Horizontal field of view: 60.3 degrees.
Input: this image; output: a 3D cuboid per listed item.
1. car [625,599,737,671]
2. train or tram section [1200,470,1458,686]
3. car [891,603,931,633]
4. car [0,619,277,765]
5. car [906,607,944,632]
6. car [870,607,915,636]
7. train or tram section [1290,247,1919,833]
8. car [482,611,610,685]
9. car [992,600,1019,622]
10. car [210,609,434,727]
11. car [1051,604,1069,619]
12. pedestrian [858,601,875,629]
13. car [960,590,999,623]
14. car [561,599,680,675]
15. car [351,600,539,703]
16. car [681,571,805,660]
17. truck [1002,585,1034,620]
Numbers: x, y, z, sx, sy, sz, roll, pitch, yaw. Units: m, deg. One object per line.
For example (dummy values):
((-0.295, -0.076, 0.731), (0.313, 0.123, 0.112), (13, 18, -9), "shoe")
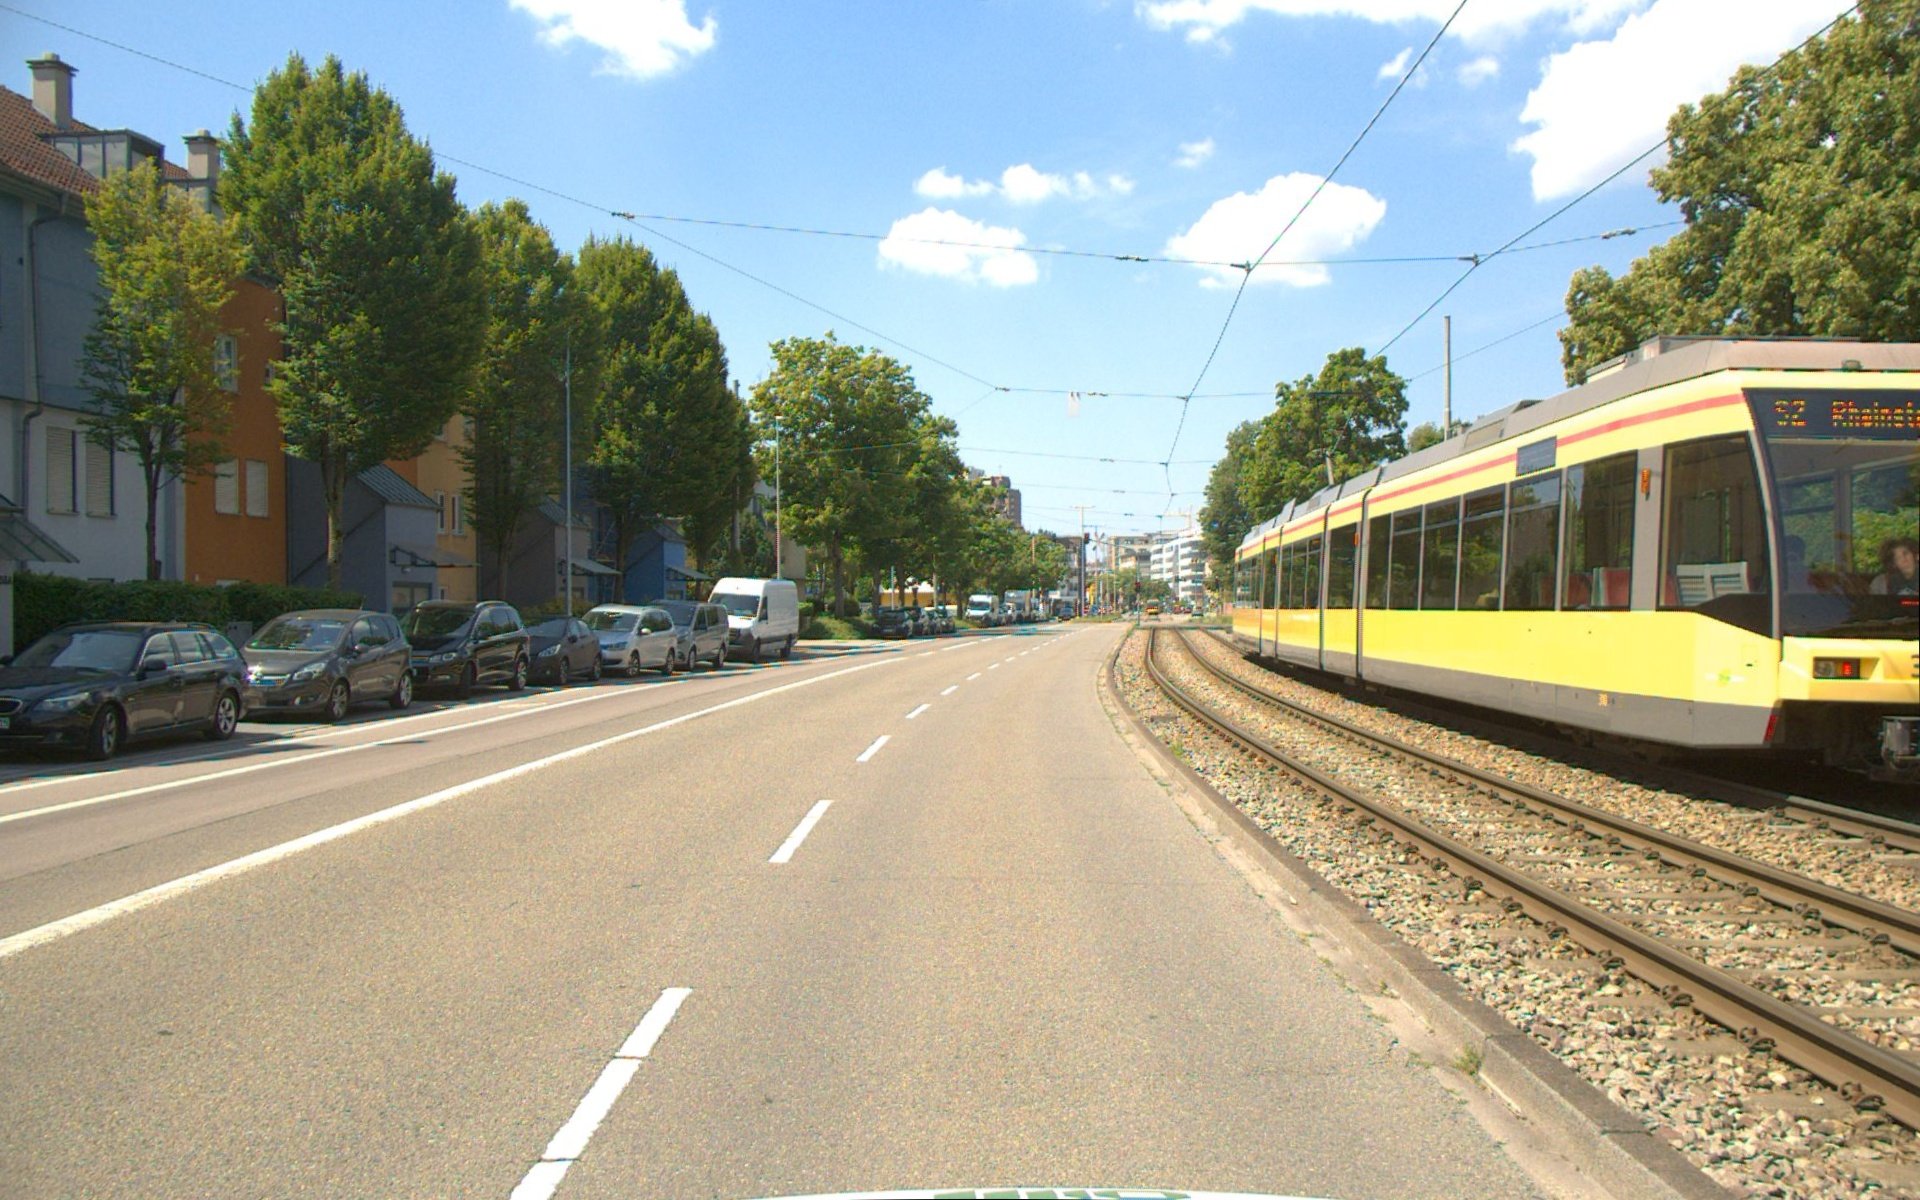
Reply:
((-7.927, 0.946, 47.542), (1.768, 1.928, 5.366), (-1, 0, 6), "car")
((7.915, -0.382, 39.026), (2.882, 3.756, 20.293), (0, 0, 4), "train or tram section")
((-2.766, 0.992, 94.240), (1.737, 1.632, 4.640), (0, 0, 5), "car")
((-10.294, 1.012, 20.137), (1.705, 1.472, 4.965), (1, 0, 2), "car")
((-2.063, 1.164, 99.330), (1.737, 1.397, 4.700), (1, 0, 5), "car")
((-3.505, 1.099, 86.337), (1.737, 1.481, 4.807), (0, 0, 5), "car")
((6.914, -0.384, 19.786), (2.882, 3.756, 18.393), (0, 0, 2), "train or tram section")
((-9.163, 1.026, 36.901), (1.565, 1.497, 4.089), (-1, 0, 4), "car")
((4.240, 1.022, 152.984), (2.017, 1.931, 4.874), (-1, 0, 7), "car")
((-9.895, 0.997, 26.027), (1.621, 1.645, 4.287), (-1, 0, 4), "car")
((10.735, 1.214, 176.897), (1.737, 1.485, 4.197), (-2, 0, 5), "car")
((-6.145, 0.991, 108.940), (0.954, 1.855, 0.795), (-1, -1, 4), "pedestrian")
((1.615, 0.522, 133.751), (2.111, 2.530, 6.198), (2, 0, 9), "car")
((-8.508, 0.890, 41.870), (1.680, 1.783, 4.906), (-1, 0, 4), "car")
((-9.579, 0.903, 31.212), (1.714, 1.746, 4.890), (-1, 0, 4), "car")
((-7.231, 0.493, 55.968), (2.274, 2.697, 7.040), (3, 0, 7), "car")
((5.701, 0.273, 161.669), (2.111, 3.266, 7.088), (2, 0, 9), "truck")
